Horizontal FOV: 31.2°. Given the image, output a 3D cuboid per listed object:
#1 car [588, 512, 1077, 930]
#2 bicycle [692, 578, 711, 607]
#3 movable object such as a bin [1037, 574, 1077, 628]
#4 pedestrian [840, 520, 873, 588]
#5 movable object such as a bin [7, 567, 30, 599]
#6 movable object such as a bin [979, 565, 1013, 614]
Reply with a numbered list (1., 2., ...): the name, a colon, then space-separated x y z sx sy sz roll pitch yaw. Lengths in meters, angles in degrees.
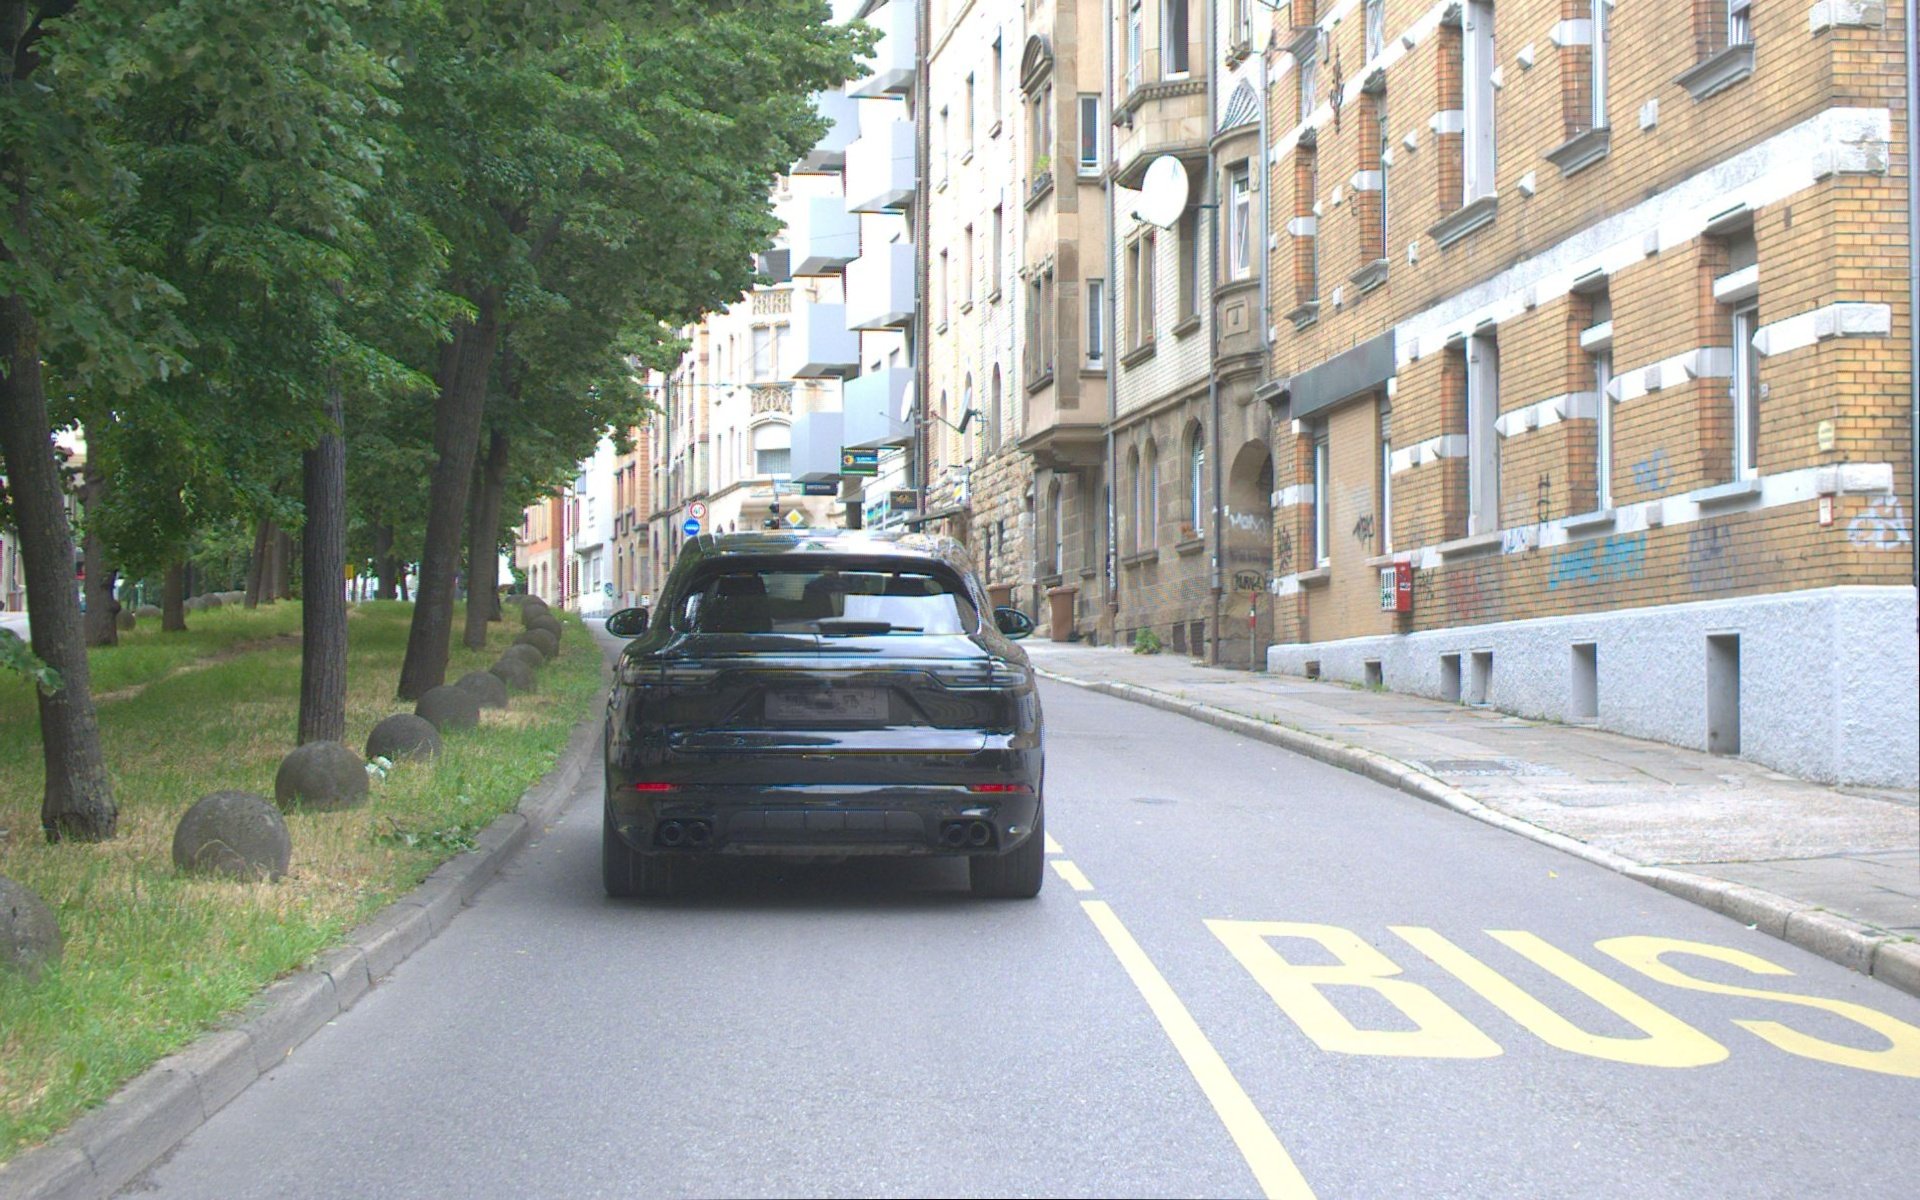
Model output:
1. car: -0.653 0.463 16.425 1.993 1.660 4.001 2 2 -3
2. bicycle: -9.664 -0.277 128.432 0.446 1.033 2.249 0 -1 -10
3. movable object such as a bin: 1.641 0.013 58.252 0.594 0.901 0.563 1 0 -6
4. pedestrian: -2.595 -1.145 86.226 0.751 1.687 0.858 0 -1 -7
5. movable object such as a bin: -31.893 -0.567 116.459 0.691 1.056 0.690 1 -2 -13
6. movable object such as a bin: 0.699 -0.205 66.769 0.594 0.901 0.503 1 -3 -6
